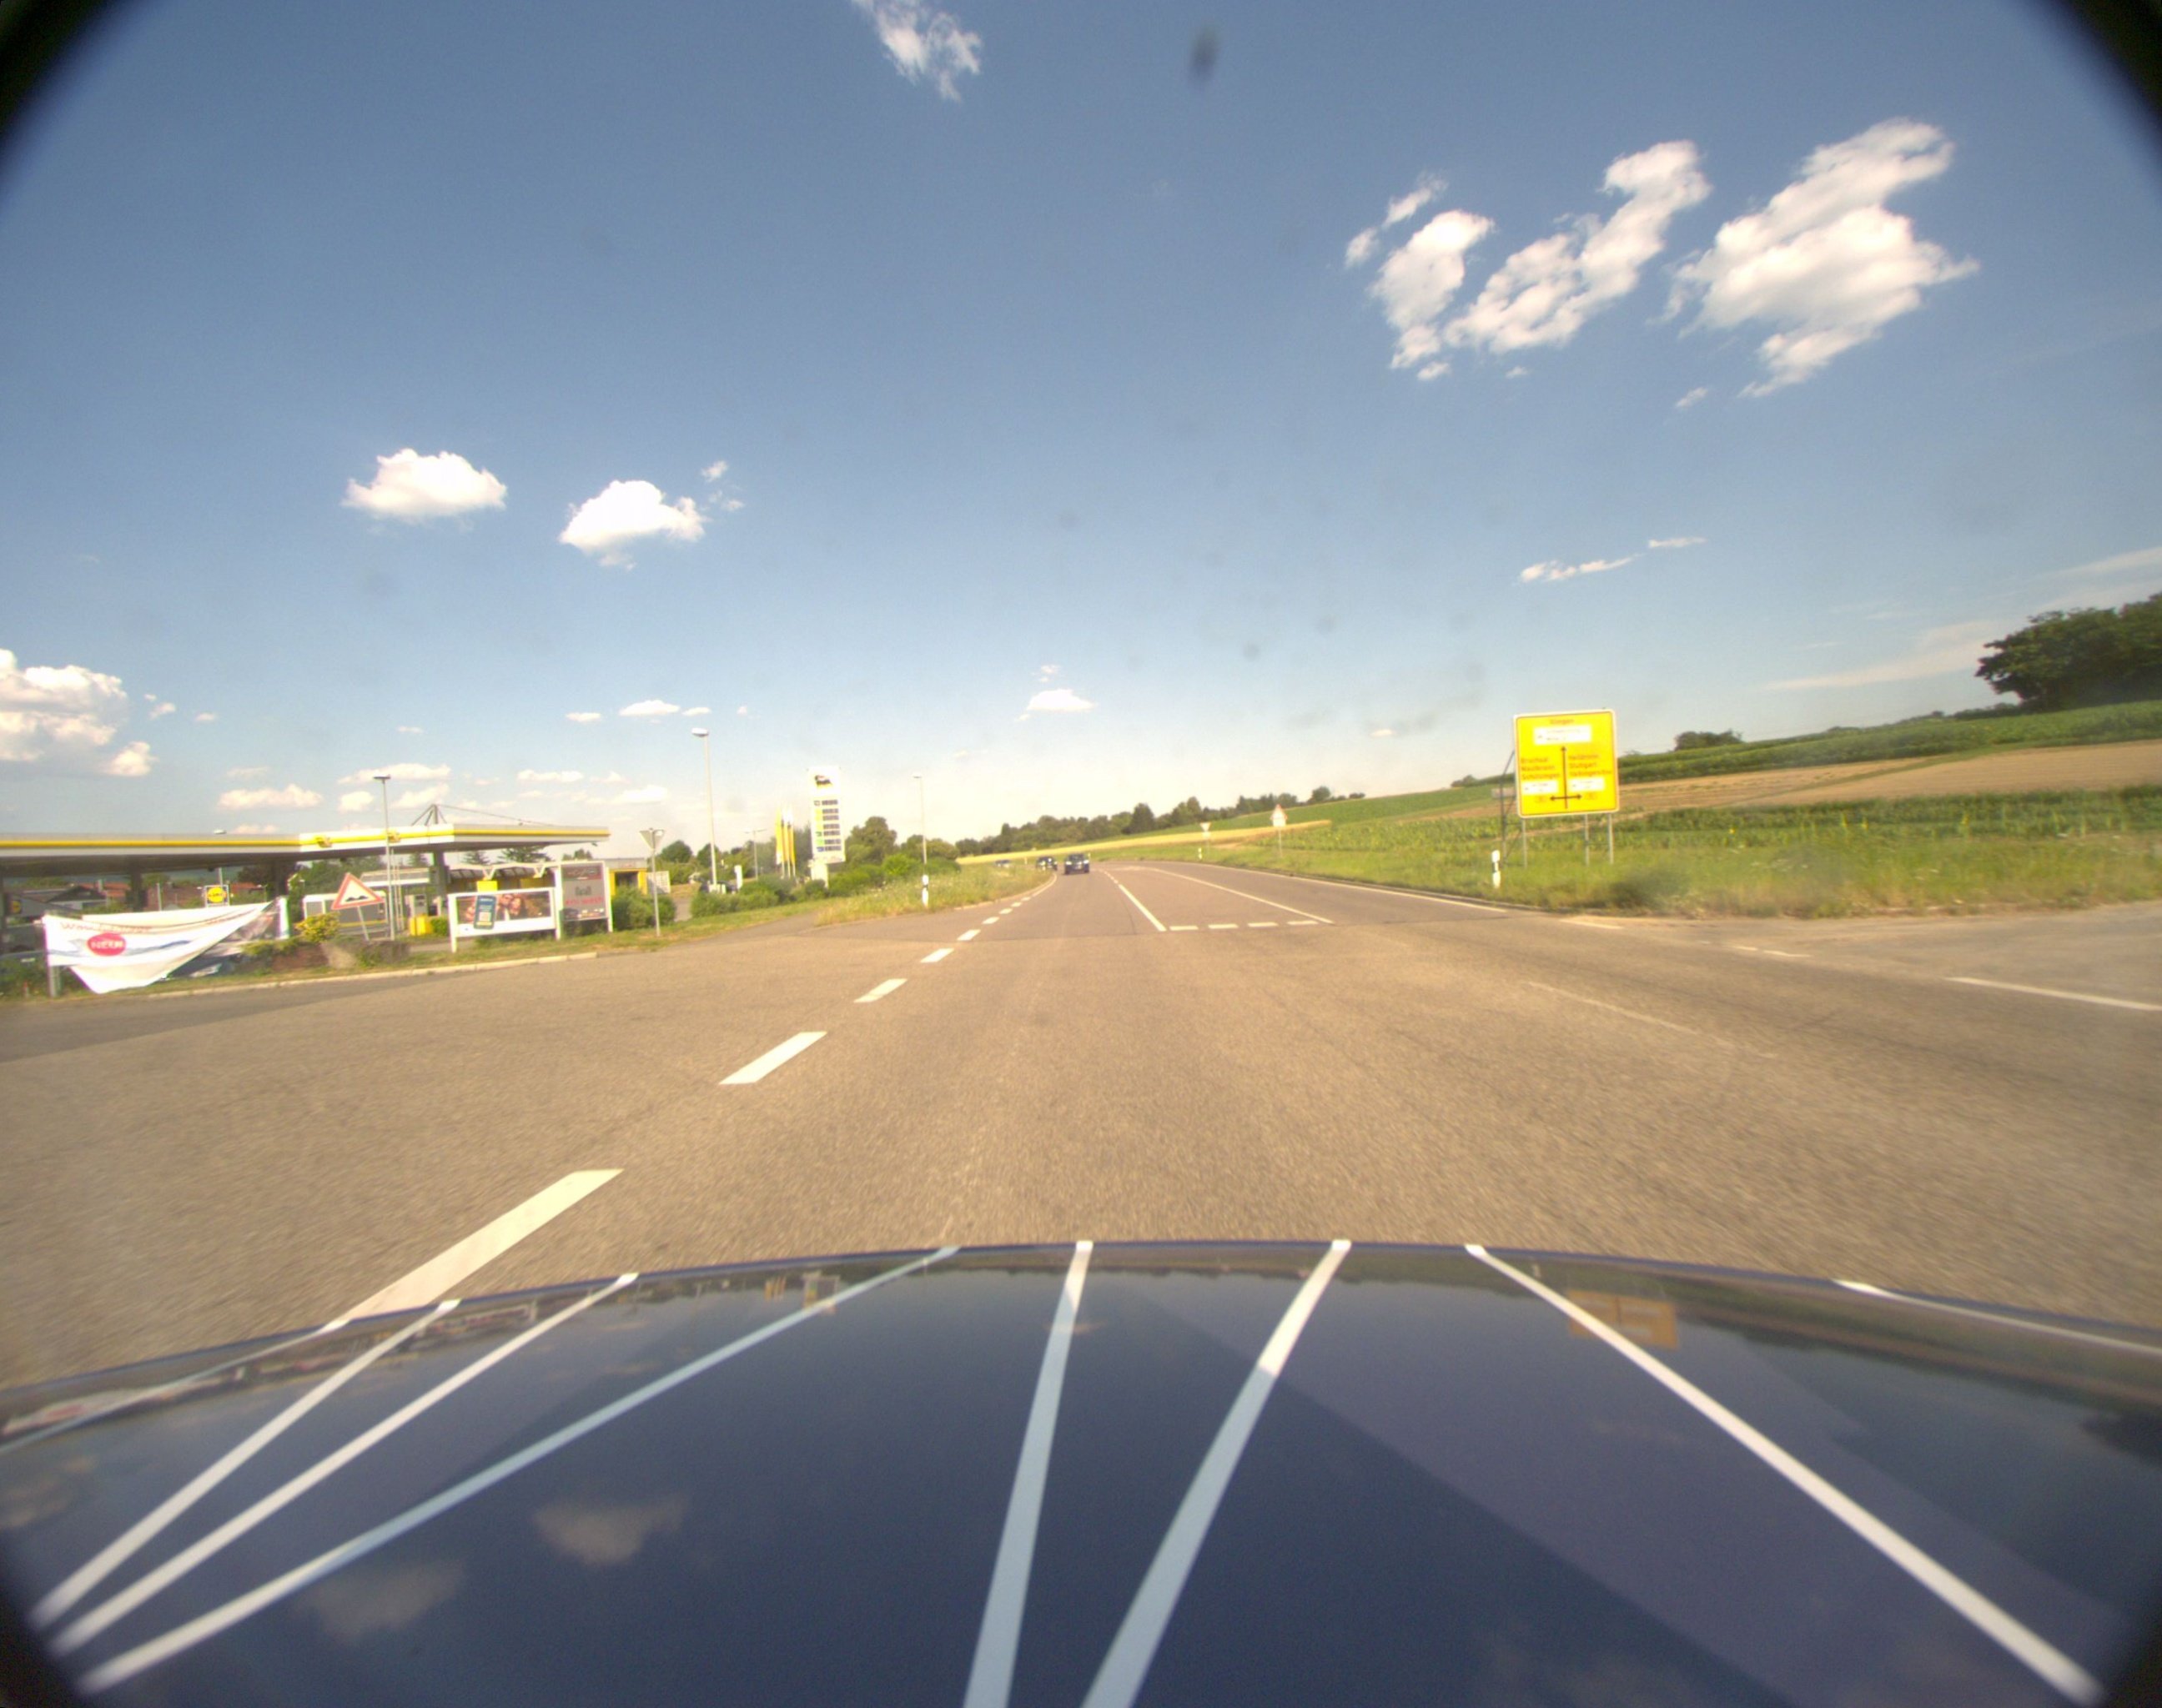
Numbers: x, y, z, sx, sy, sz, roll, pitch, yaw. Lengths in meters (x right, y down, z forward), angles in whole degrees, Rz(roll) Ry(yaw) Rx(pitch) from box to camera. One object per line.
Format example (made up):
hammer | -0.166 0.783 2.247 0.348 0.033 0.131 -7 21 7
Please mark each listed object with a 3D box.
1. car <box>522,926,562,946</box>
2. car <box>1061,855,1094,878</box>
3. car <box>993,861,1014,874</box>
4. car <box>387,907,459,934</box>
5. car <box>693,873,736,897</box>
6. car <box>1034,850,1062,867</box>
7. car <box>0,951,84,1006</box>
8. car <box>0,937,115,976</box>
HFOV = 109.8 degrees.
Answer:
car | -14.332 2.175 20.196 1.080 0.447 0.608 -5 2 43
car | -0.303 0.951 60.912 1.789 1.620 4.465 -6 1 -10
car | -10.103 1.713 99.026 1.525 1.498 2.746 -7 1 -29
car | -49.873 5.058 57.612 4.336 1.530 1.805 -5 1 13
car | -39.229 3.284 81.429 3.691 2.102 1.918 -7 1 -15
car | -3.511 0.488 80.669 1.777 1.604 4.541 -7 1 -16
car | -24.925 2.955 17.753 1.276 1.020 2.497 -7 2 -37
car | -58.287 5.804 42.803 1.801 1.530 4.345 -5 1 9
